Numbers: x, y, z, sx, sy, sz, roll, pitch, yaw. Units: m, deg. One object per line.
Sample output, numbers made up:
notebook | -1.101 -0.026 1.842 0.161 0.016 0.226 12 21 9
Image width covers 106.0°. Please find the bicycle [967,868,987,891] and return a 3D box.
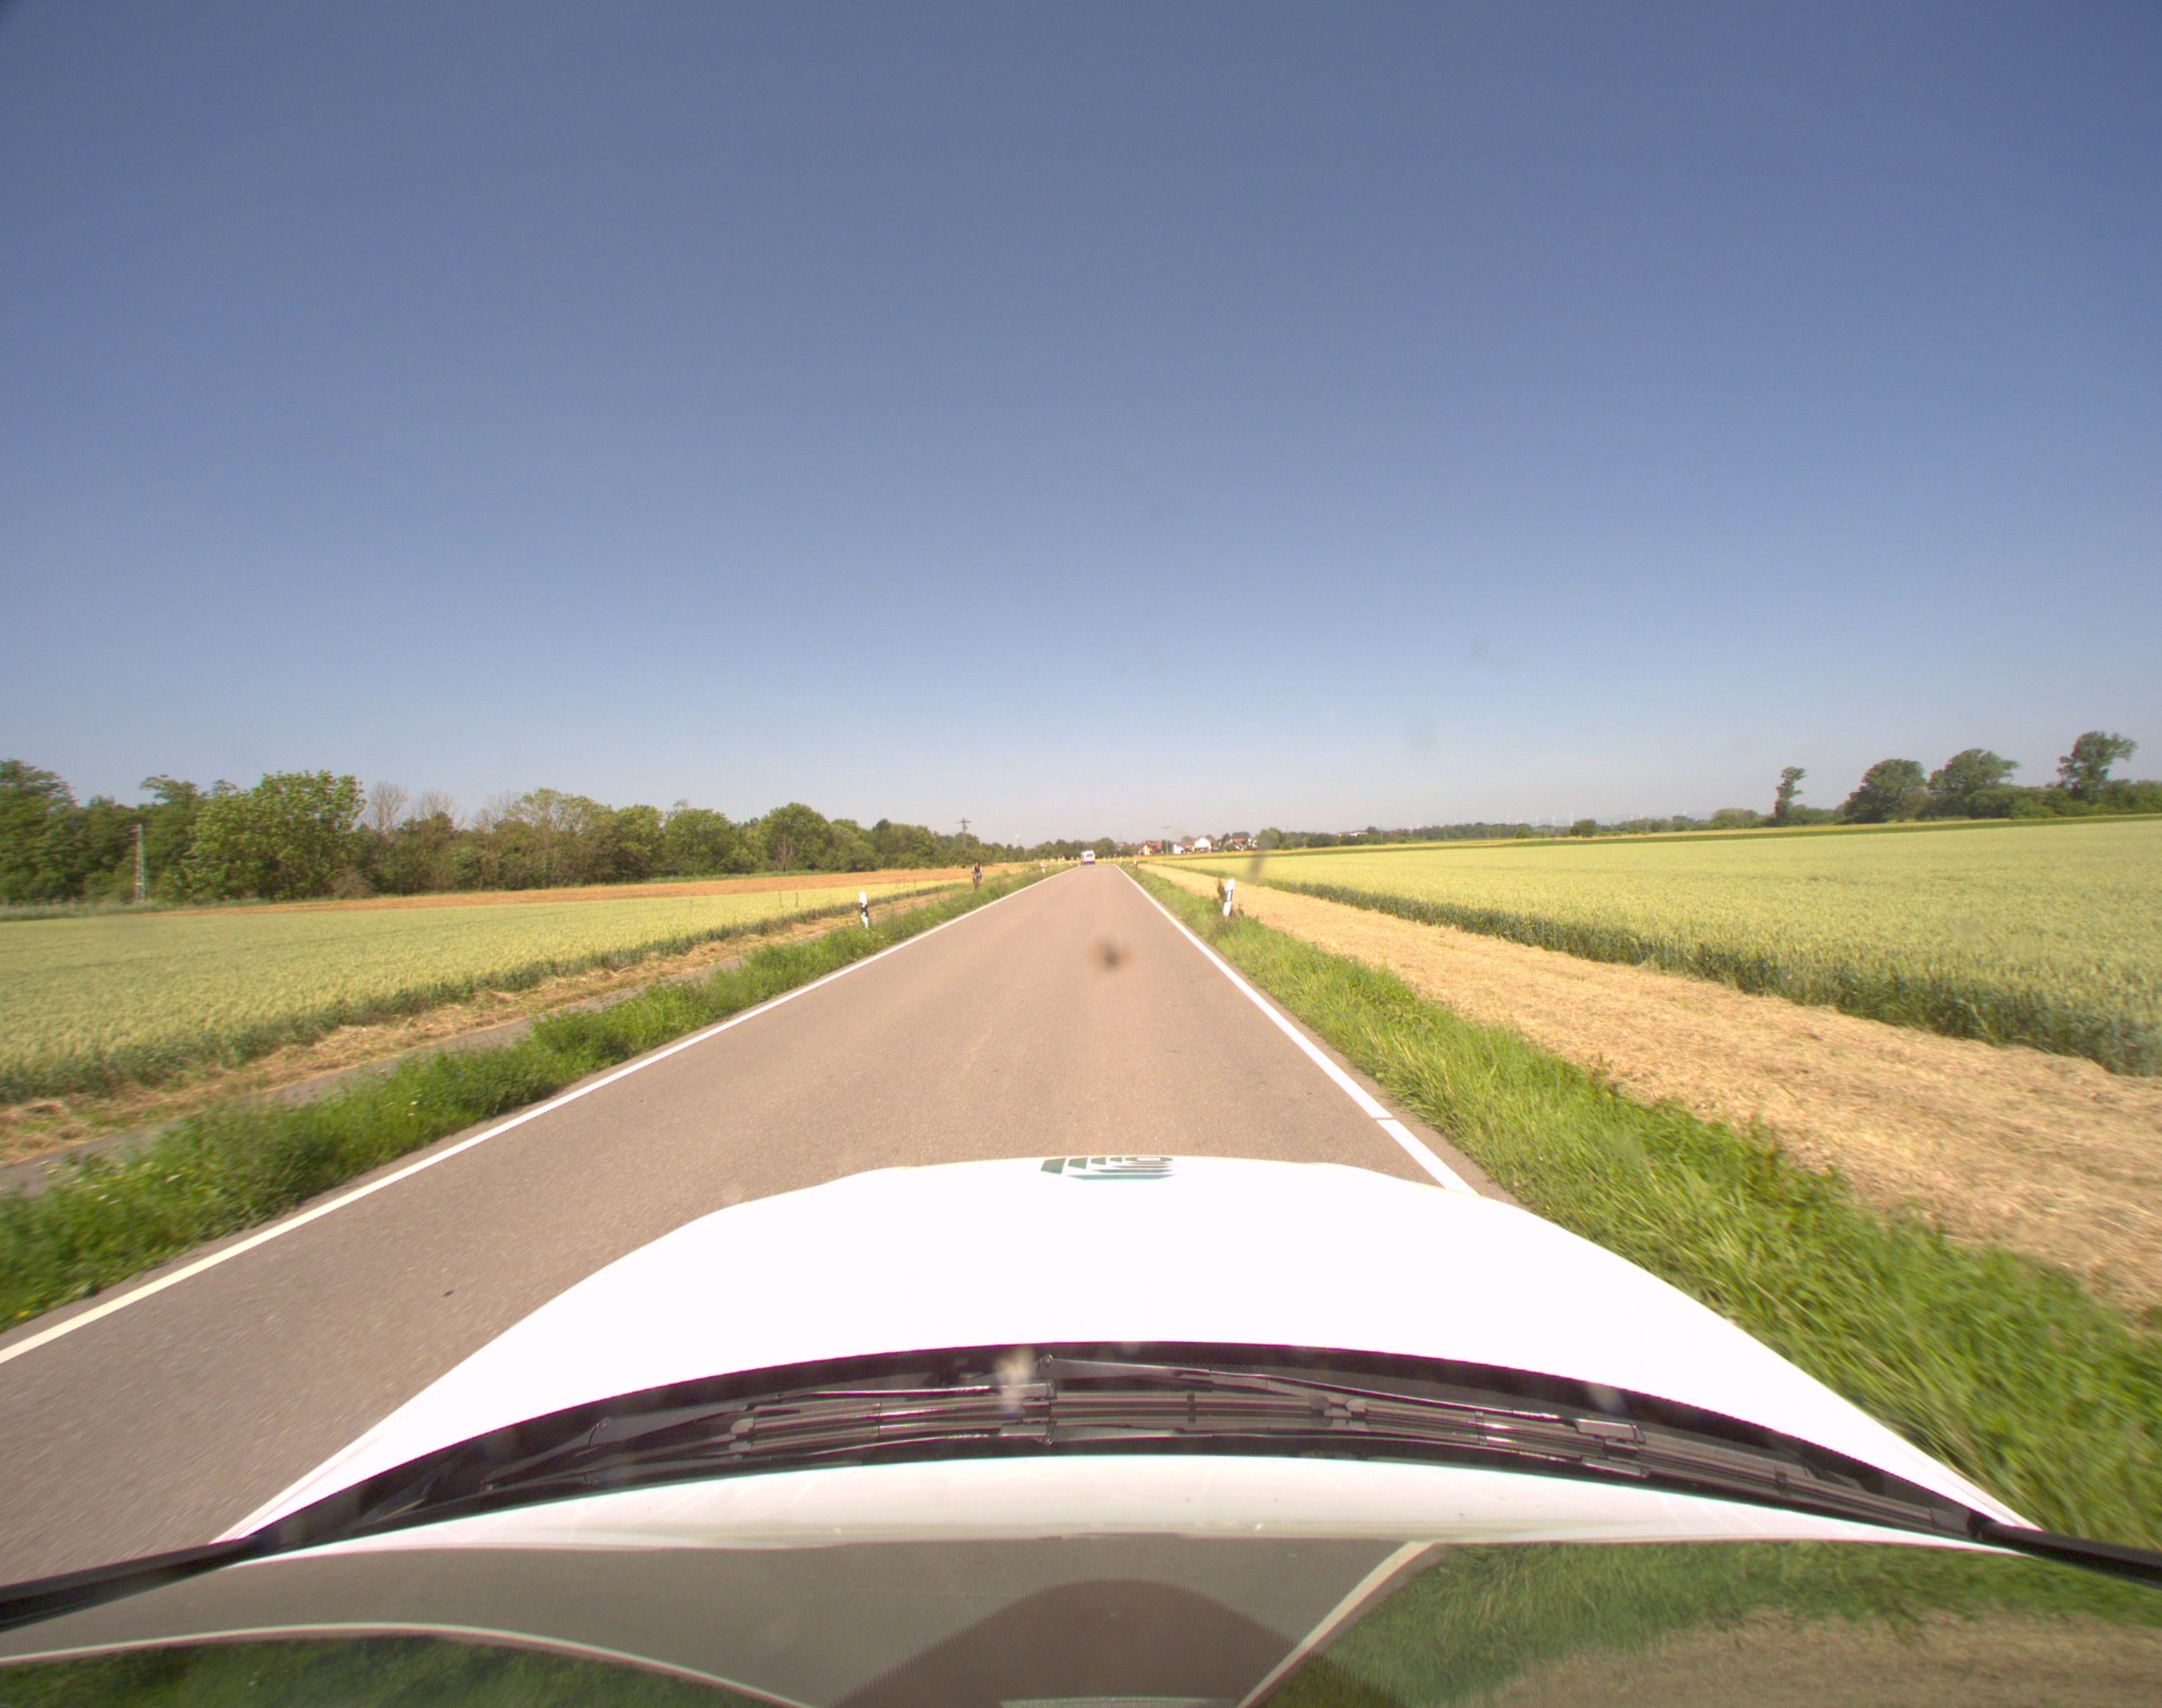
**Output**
bicycle | -6.054 1.492 47.492 0.756 1.236 2.395 -4 0 1

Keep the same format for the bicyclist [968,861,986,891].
bicyclist | -6.061 1.274 47.392 0.757 1.672 1.089 -4 -1 1

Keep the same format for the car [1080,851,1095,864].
car | 1.153 0.677 152.292 2.105 2.304 5.483 -1 0 -6
